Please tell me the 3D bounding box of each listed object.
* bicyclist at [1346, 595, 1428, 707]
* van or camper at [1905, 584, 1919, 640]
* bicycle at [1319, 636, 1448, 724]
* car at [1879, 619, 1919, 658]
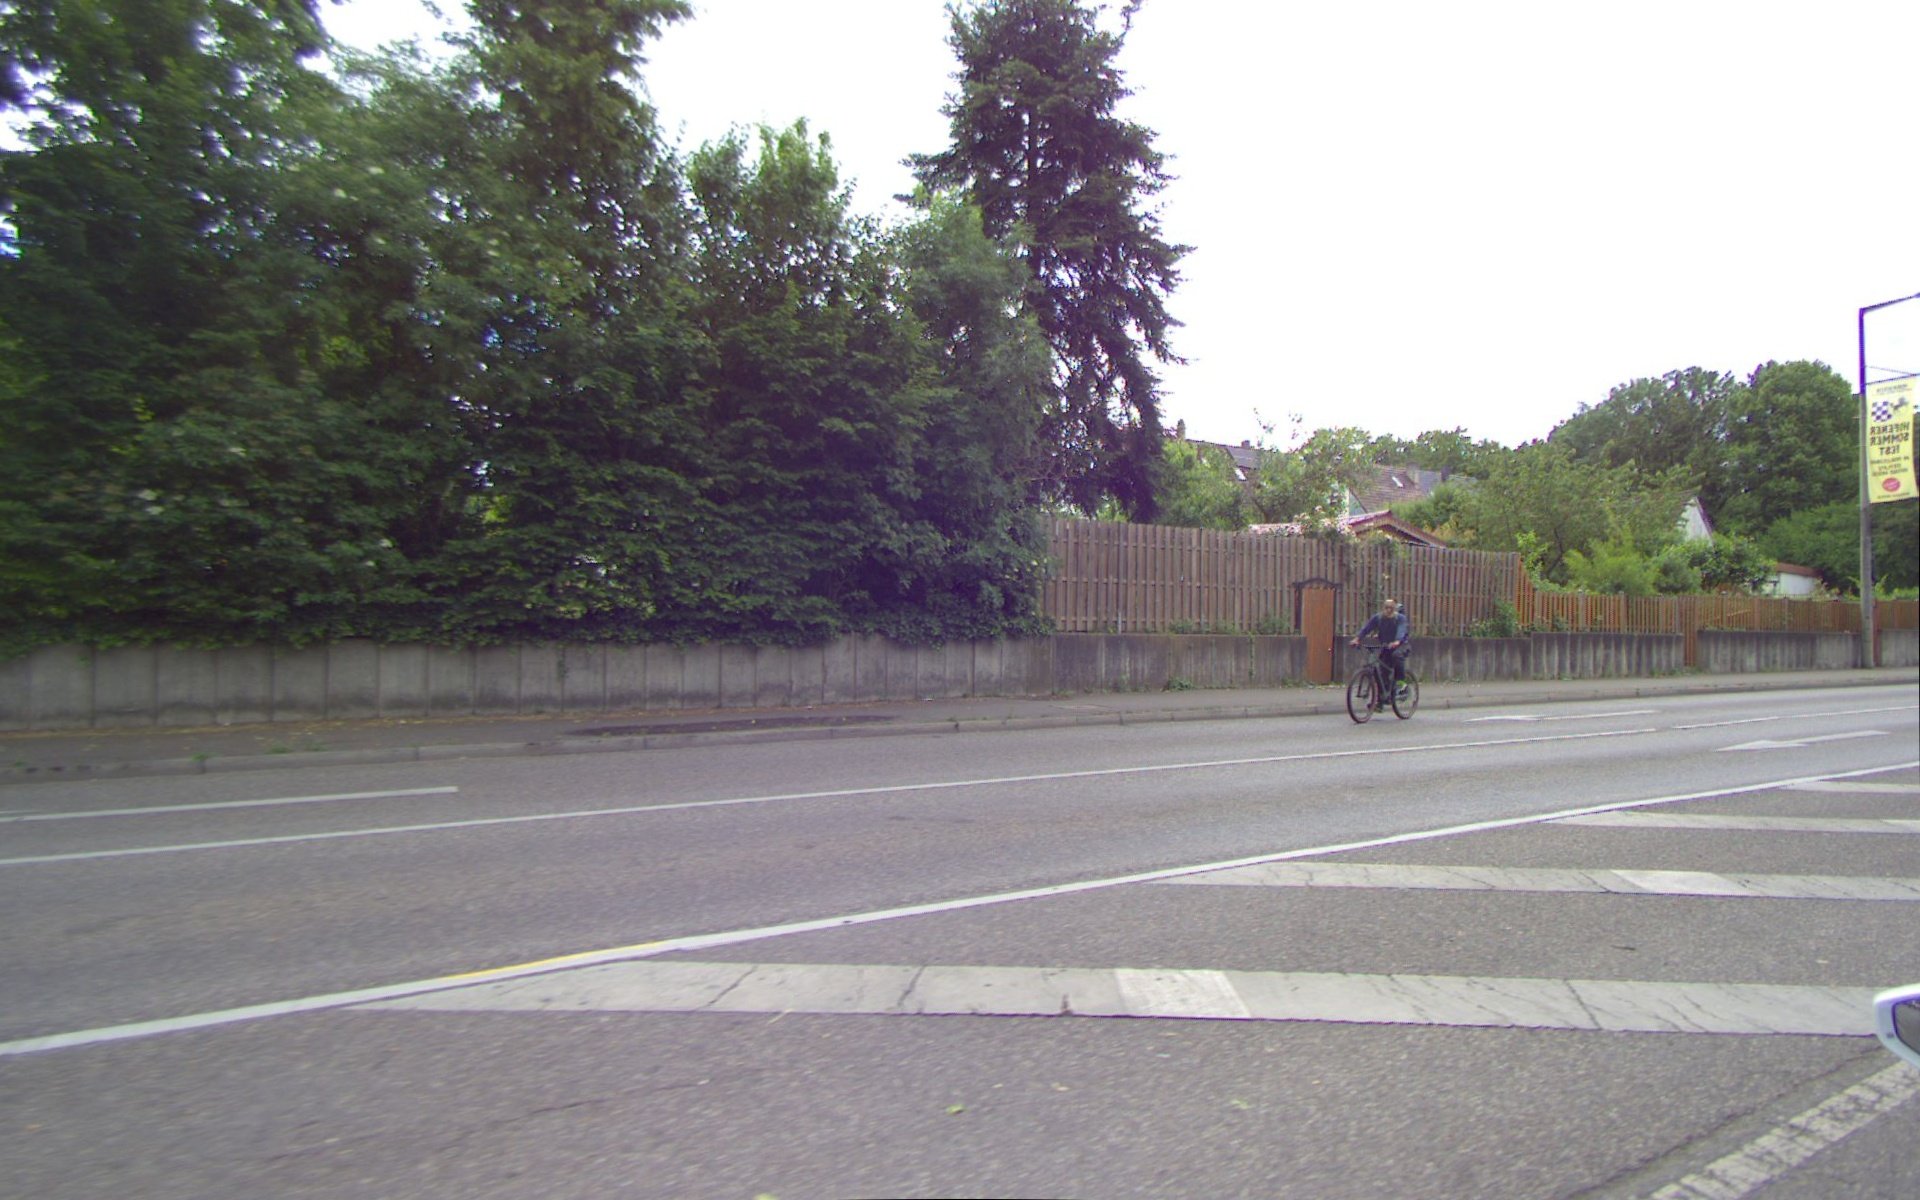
[{"bbox_3d":[6.157,0.716,14.478,0.968,1.555,0.638,1,1,-34],"label":"bicyclist"},{"bbox_3d":[61.748,1.056,59.897,2.763,3.417,7.108,1,4,-29],"label":"van or camper"},{"bbox_3d":[6.126,1.115,14.472,2.126,1.160,0.638,1,1,-35],"label":"bicycle"},{"bbox_3d":[42.153,1.717,42.812,1.975,1.639,3.970,2,0,-28],"label":"car"}]
